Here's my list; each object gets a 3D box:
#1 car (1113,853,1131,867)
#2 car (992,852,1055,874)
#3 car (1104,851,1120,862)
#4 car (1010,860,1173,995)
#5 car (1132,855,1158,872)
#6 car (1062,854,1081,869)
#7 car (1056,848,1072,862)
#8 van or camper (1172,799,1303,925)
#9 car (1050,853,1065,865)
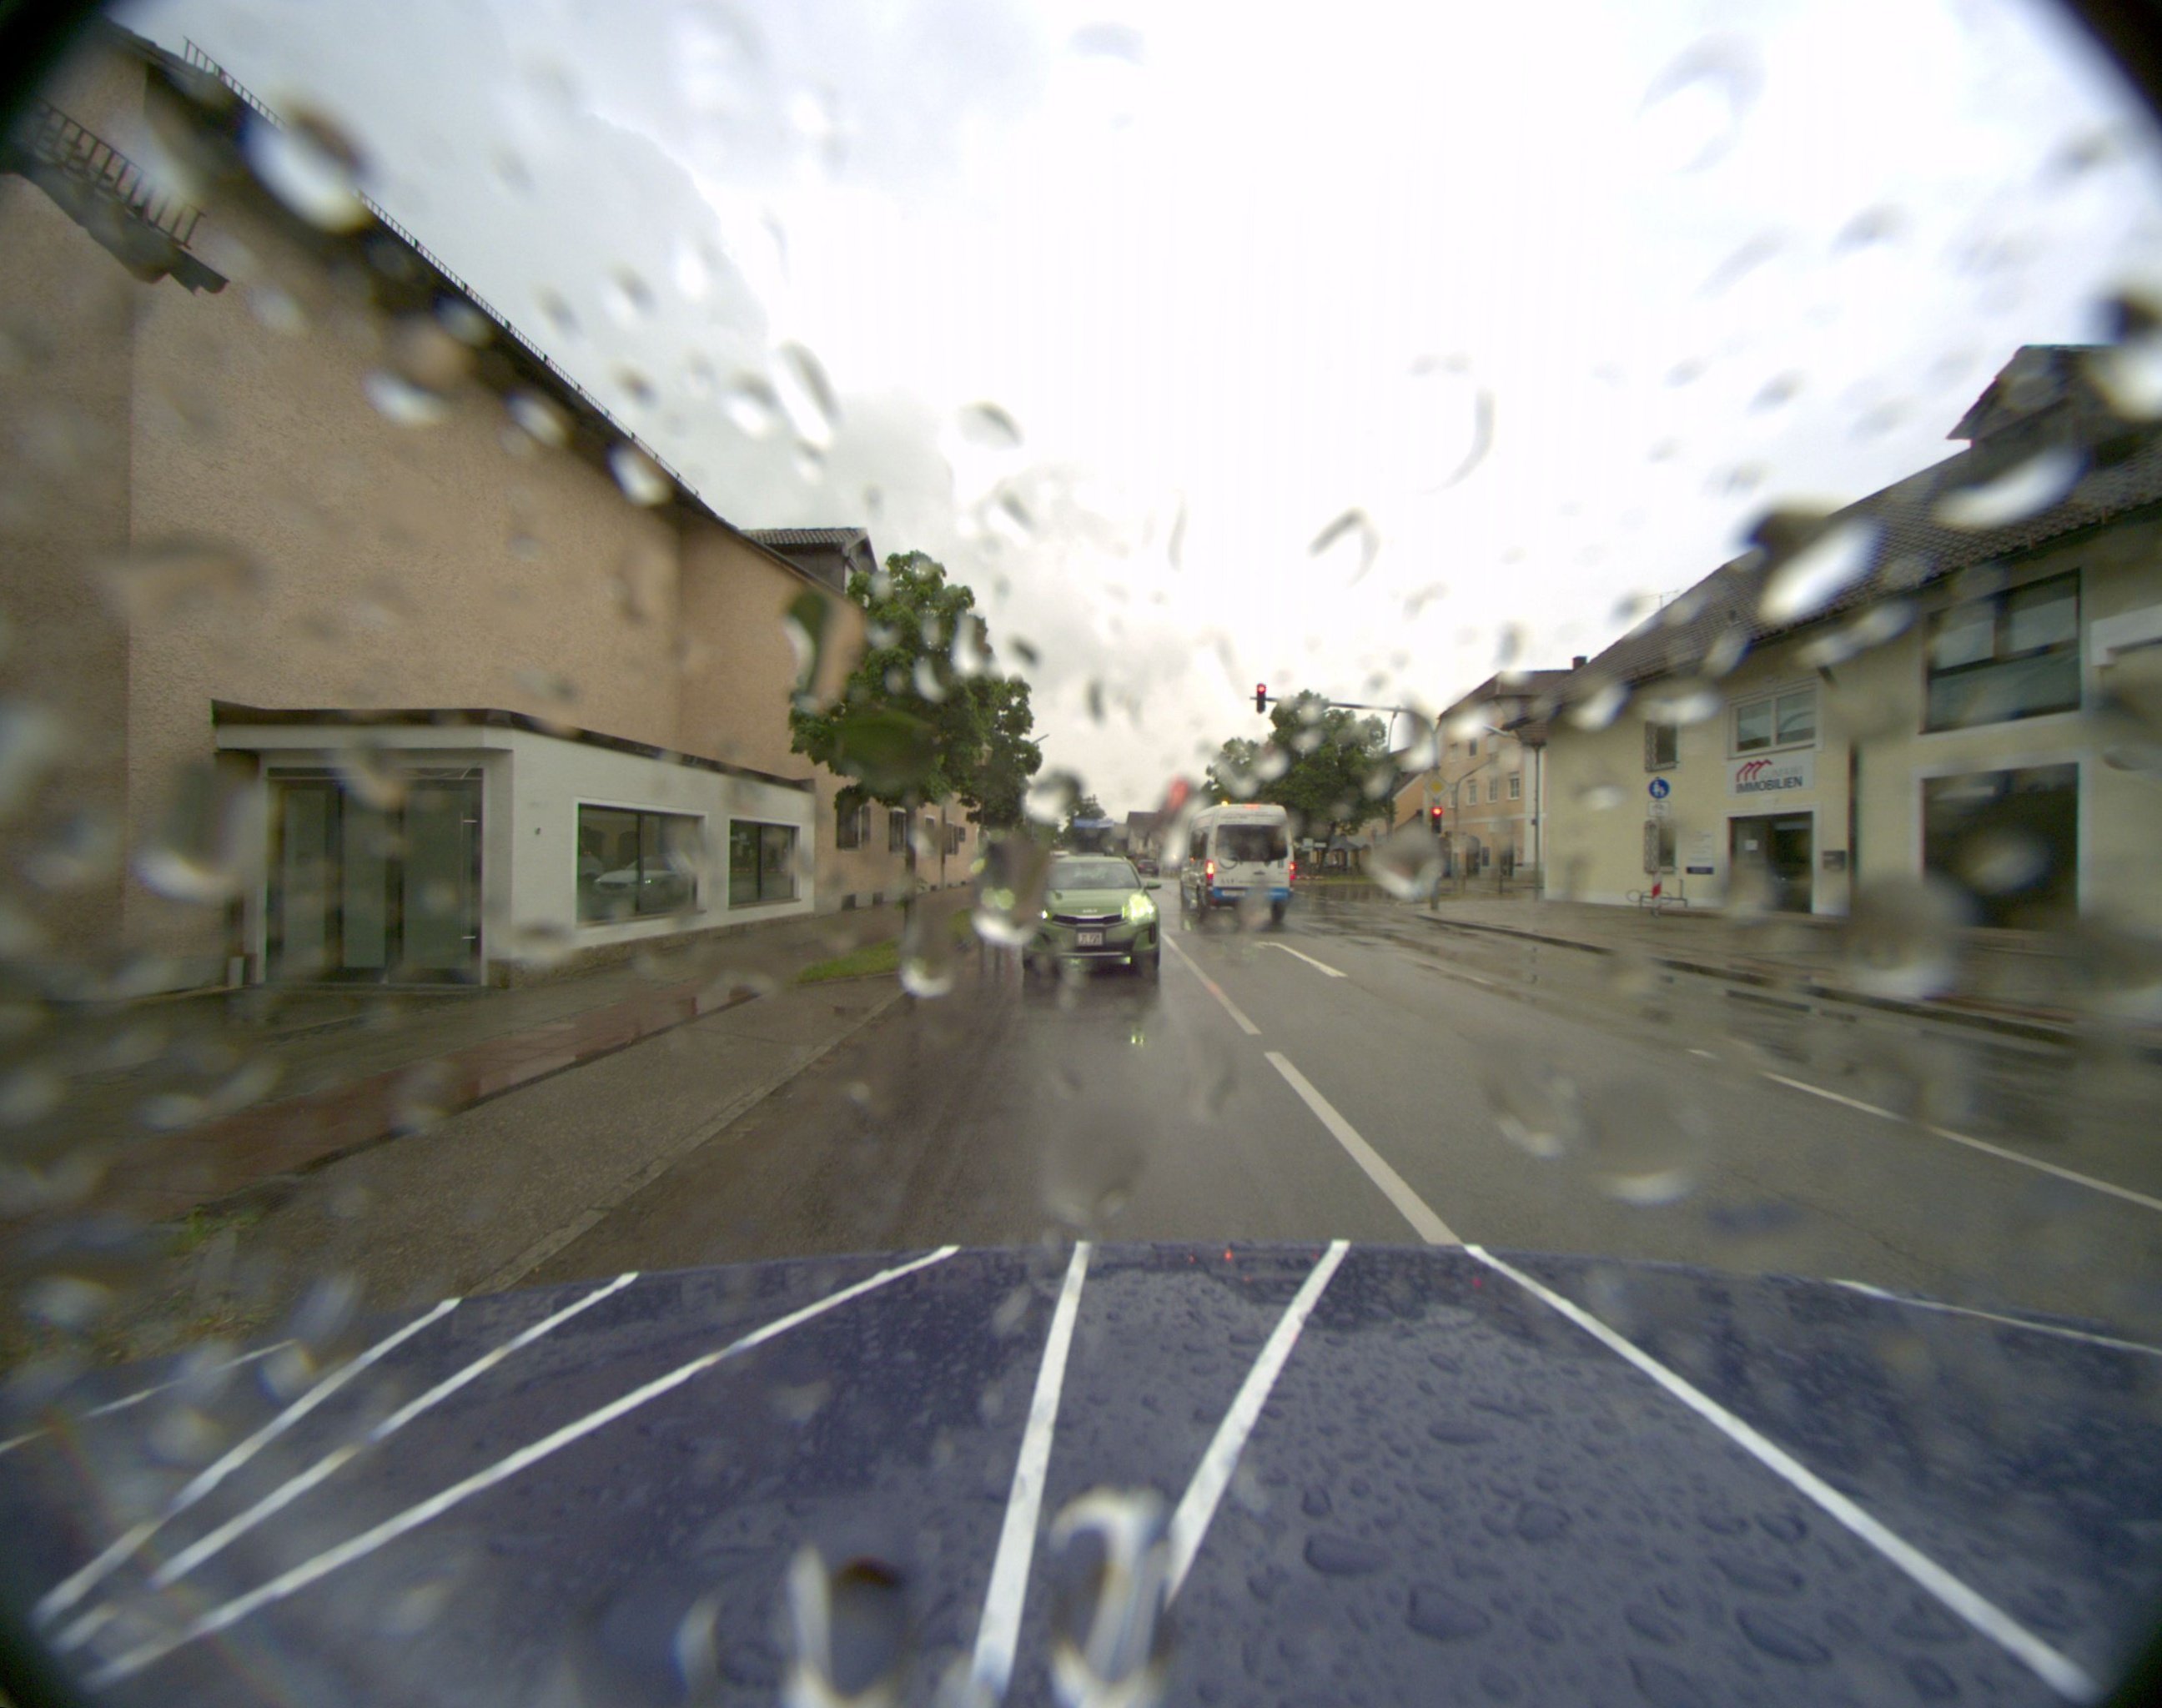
[{"bbox_3d":[4.746,0.645,88.548,1.757,1.502,4.229,2,0,-1],"label":"car"},{"bbox_3d":[-4.225,0.645,56.278,1.835,1.509,4.680,2,0,42],"label":"car"},{"bbox_3d":[4.322,0.302,106.679,1.931,1.557,4.125,1,0,0],"label":"car"},{"bbox_3d":[0.173,0.872,10.860,1.872,1.504,4.105,-1,0,1],"label":"car"},{"bbox_3d":[5.516,0.793,65.841,2.001,1.399,3.883,1,0,1],"label":"car"},{"bbox_3d":[-0.877,0.698,73.997,1.677,1.399,3.695,1,0,1],"label":"car"},{"bbox_3d":[-2.603,0.084,115.135,2.218,1.977,4.952,1,0,-4],"label":"car"},{"bbox_3d":[3.718,0.161,19.347,2.099,2.691,6.268,0,0,1],"label":"van or camper"},{"bbox_3d":[-2.942,0.620,96.898,1.756,1.502,4.230,2,0,0],"label":"car"}]
